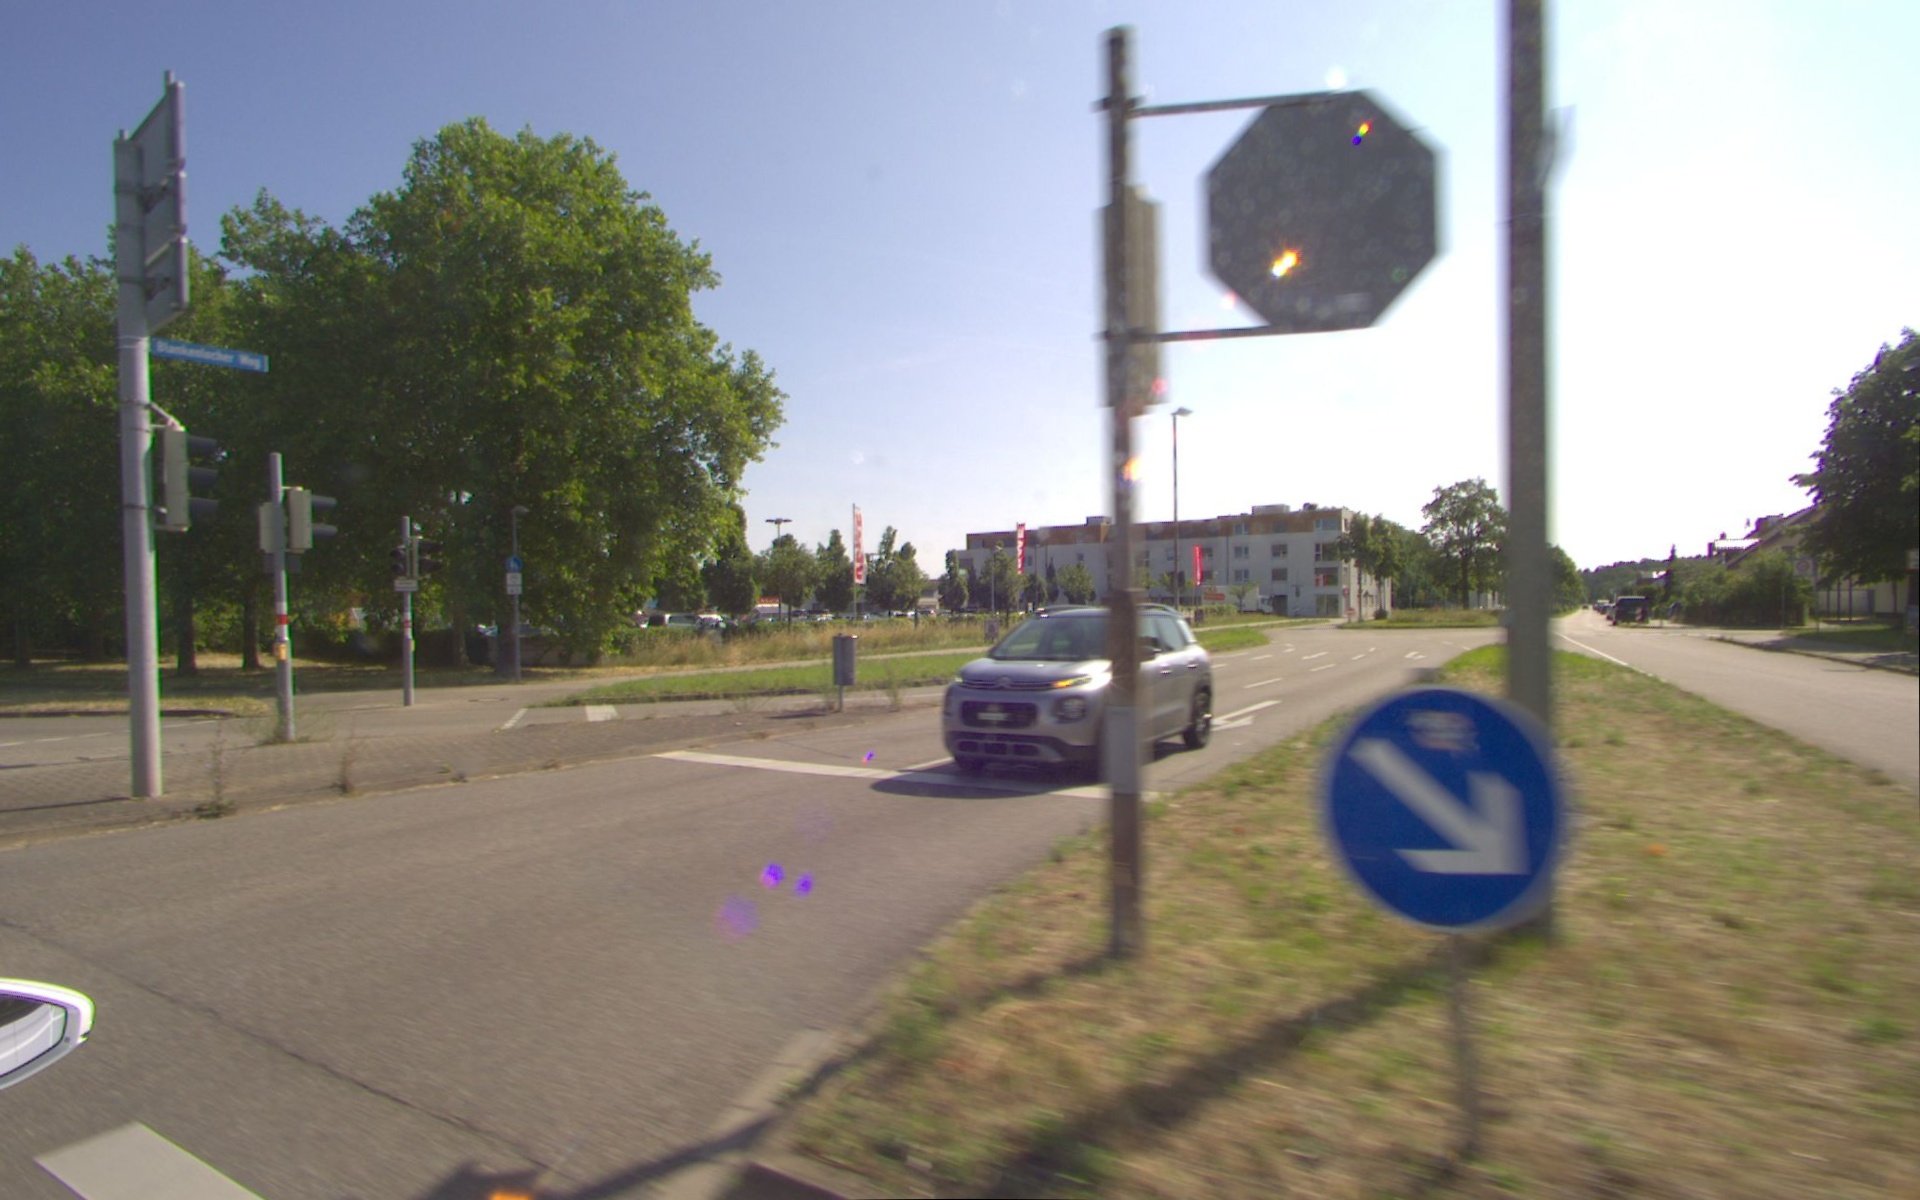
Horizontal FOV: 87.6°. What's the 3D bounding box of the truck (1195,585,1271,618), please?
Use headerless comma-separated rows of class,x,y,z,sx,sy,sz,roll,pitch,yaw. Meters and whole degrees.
truck,30.779,0.182,112.968,8.106,3.592,2.629,-1,0,18

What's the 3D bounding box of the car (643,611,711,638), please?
car,-19.096,1.635,67.640,1.976,1.750,3.969,-1,0,40

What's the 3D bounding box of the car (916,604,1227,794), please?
car,1.375,0.860,10.598,1.718,1.584,4.044,-1,-1,31

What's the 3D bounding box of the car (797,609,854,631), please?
car,-11.453,1.711,85.339,4.451,1.773,1.974,-1,0,-36

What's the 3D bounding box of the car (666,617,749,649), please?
car,-15.190,1.987,60.440,4.420,1.773,1.987,-1,0,6

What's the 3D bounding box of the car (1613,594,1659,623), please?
car,45.206,0.563,66.982,1.979,1.813,3.965,-1,-1,43

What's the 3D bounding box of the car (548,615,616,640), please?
car,-28.391,2.072,75.306,1.962,1.773,4.477,-1,-1,37

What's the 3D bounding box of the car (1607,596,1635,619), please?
car,59.139,0.678,89.593,1.974,1.950,3.976,-2,-2,35

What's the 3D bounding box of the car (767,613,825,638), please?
car,-12.199,1.859,74.520,1.976,1.750,3.969,-1,0,40

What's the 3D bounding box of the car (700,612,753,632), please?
car,-21.732,2.009,93.300,1.966,1.773,4.467,-1,-1,43

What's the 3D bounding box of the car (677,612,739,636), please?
car,-19.662,1.866,78.220,1.962,1.773,4.477,-1,-1,37

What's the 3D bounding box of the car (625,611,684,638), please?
car,-23.869,1.900,78.381,1.976,2.040,3.969,-1,0,40
